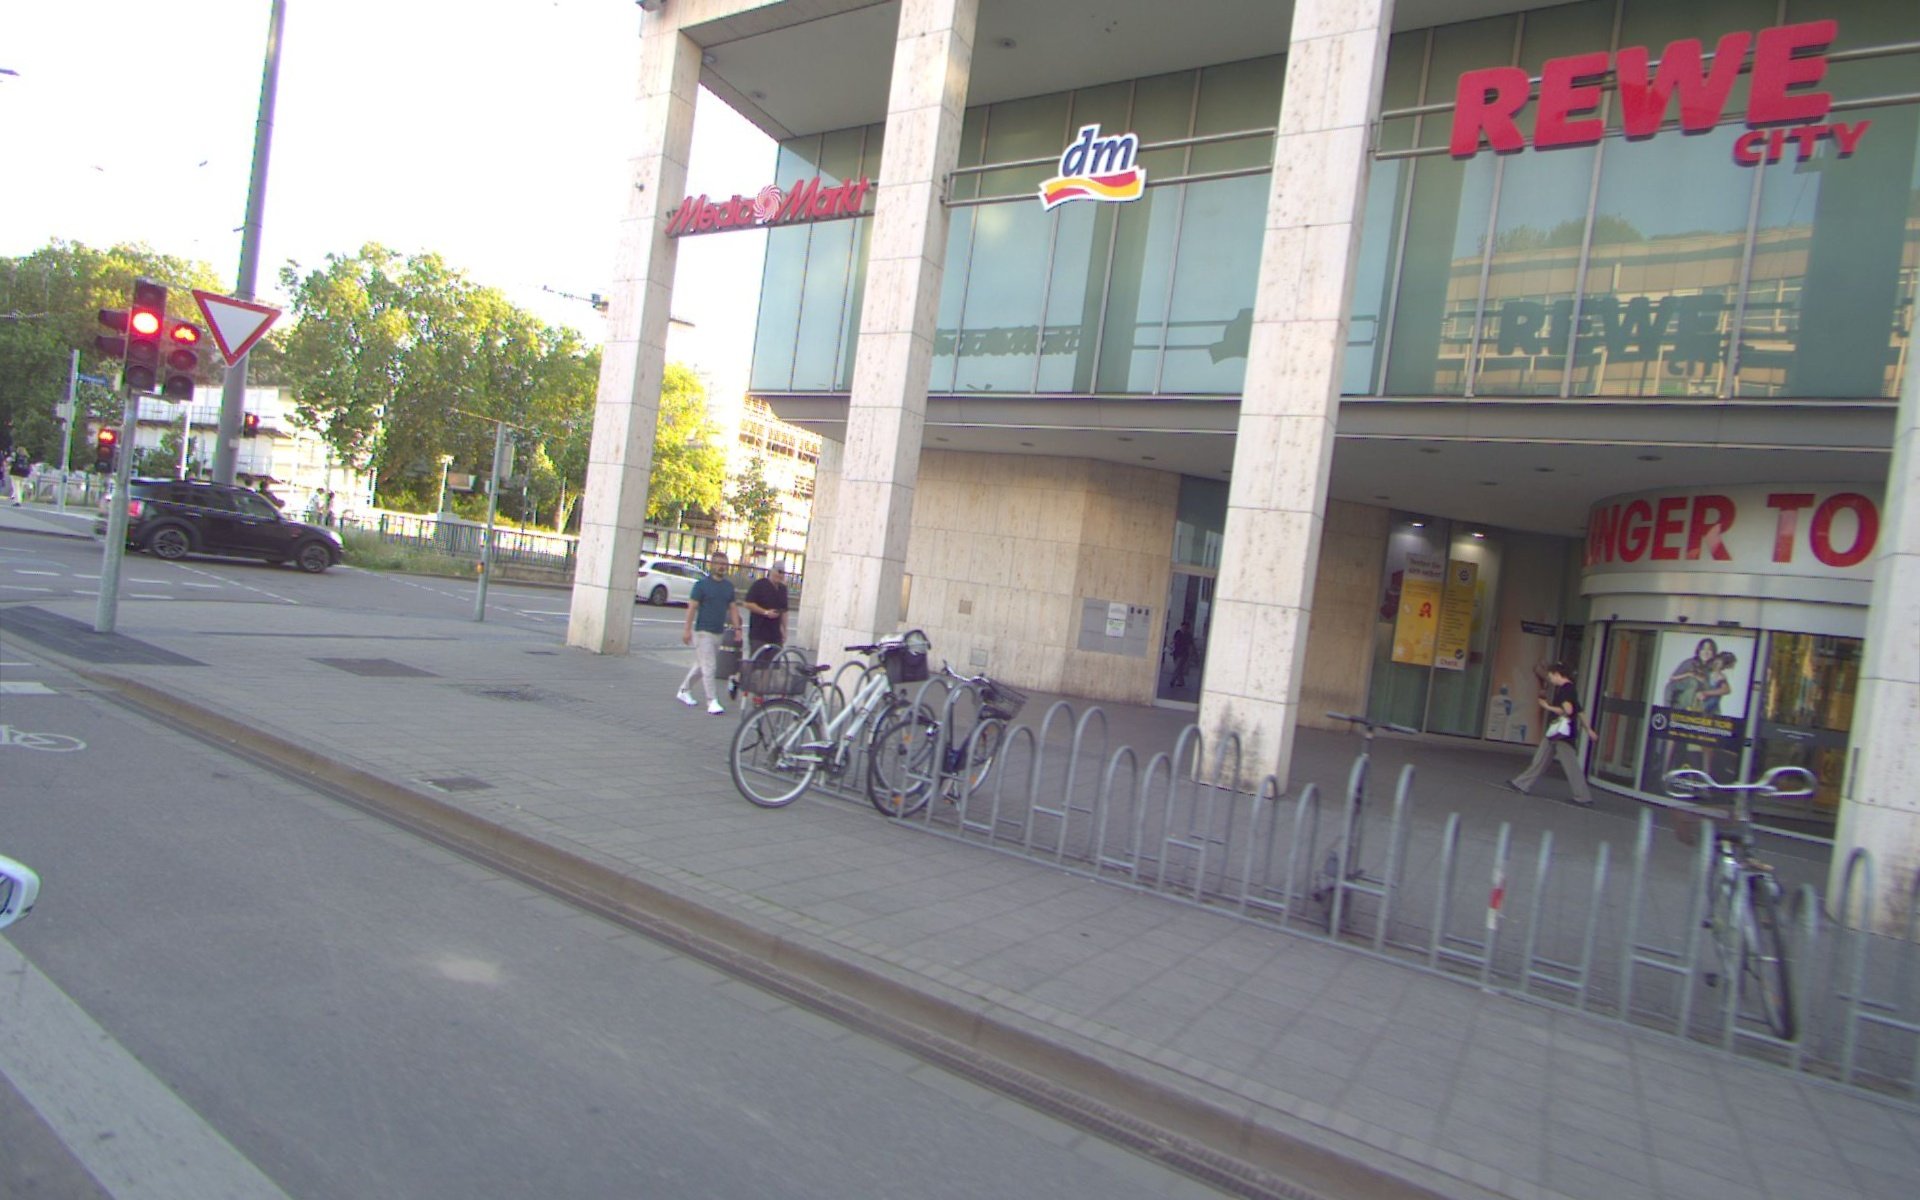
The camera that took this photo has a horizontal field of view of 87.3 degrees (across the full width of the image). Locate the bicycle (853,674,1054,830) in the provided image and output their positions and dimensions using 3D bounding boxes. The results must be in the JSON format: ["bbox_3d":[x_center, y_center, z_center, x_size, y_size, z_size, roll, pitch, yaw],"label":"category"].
[{"bbox_3d":[0.020,1.066,7.500,0.508,0.948,1.869,8,0,30],"label":"bicycle"}]

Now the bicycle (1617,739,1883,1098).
[{"bbox_3d":[3.874,1.442,5.098,0.662,1.275,1.869,8,1,30],"label":"bicycle"}]

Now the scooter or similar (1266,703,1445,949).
[{"bbox_3d":[2.381,1.256,5.975,0.662,1.174,1.278,8,0,31],"label":"scooter or similar"}]

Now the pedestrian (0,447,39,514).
[{"bbox_3d":[-26.784,-3.382,28.525,0.729,1.751,0.692,8,2,34],"label":"pedestrian"}]

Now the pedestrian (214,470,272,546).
[{"bbox_3d":[-19.149,-2.444,26.867,0.676,1.863,0.894,8,1,28],"label":"pedestrian"}]

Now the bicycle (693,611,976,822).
[{"bbox_3d":[-0.804,0.799,6.900,1.811,1.227,0.563,7,1,-43],"label":"bicycle"}]

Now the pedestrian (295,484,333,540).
[{"bbox_3d":[-21.890,-2.987,34.071,0.825,1.751,0.685,8,2,36],"label":"pedestrian"}]

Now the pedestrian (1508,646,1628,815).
[{"bbox_3d":[7.244,1.511,12.028,0.974,1.800,0.861,8,3,31],"label":"pedestrian"}]

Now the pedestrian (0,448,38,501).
[{"bbox_3d":[-34.357,-4.572,36.624,0.795,1.751,0.688,8,1,6],"label":"pedestrian"}]

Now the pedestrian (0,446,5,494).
[{"bbox_3d":[-35.438,-4.788,36.477,0.796,1.751,0.687,7,1,-1],"label":"pedestrian"}]

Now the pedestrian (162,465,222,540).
[{"bbox_3d":[-19.853,-2.516,26.007,0.676,1.751,0.894,8,1,29],"label":"pedestrian"}]

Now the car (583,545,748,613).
[{"bbox_3d":[-9.260,-0.618,32.048,2.092,1.514,4.803,8,0,31],"label":"car"}]

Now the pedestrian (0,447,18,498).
[{"bbox_3d":[-34.207,-4.565,35.728,0.676,1.751,0.809,8,1,31],"label":"pedestrian"}]

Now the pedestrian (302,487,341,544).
[{"bbox_3d":[-21.265,-2.809,33.517,0.825,1.751,0.685,8,2,37],"label":"pedestrian"}]

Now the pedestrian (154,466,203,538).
[{"bbox_3d":[-20.707,-2.598,26.658,0.882,1.751,0.685,8,2,37],"label":"pedestrian"}]

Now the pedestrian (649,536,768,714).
[{"bbox_3d":[-2.751,0.264,11.030,0.728,1.801,0.860,8,4,33],"label":"pedestrian"}]

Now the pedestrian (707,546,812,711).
[{"bbox_3d":[-2.345,0.328,11.796,0.728,1.801,0.756,8,4,33],"label":"pedestrian"}]

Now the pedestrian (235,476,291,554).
[{"bbox_3d":[-17.893,-2.167,25.858,0.884,1.854,0.684,7,1,-22],"label":"pedestrian"}]

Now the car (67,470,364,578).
[{"bbox_3d":[-15.426,-1.526,21.112,2.092,1.514,4.466,8,0,31],"label":"car"}]
